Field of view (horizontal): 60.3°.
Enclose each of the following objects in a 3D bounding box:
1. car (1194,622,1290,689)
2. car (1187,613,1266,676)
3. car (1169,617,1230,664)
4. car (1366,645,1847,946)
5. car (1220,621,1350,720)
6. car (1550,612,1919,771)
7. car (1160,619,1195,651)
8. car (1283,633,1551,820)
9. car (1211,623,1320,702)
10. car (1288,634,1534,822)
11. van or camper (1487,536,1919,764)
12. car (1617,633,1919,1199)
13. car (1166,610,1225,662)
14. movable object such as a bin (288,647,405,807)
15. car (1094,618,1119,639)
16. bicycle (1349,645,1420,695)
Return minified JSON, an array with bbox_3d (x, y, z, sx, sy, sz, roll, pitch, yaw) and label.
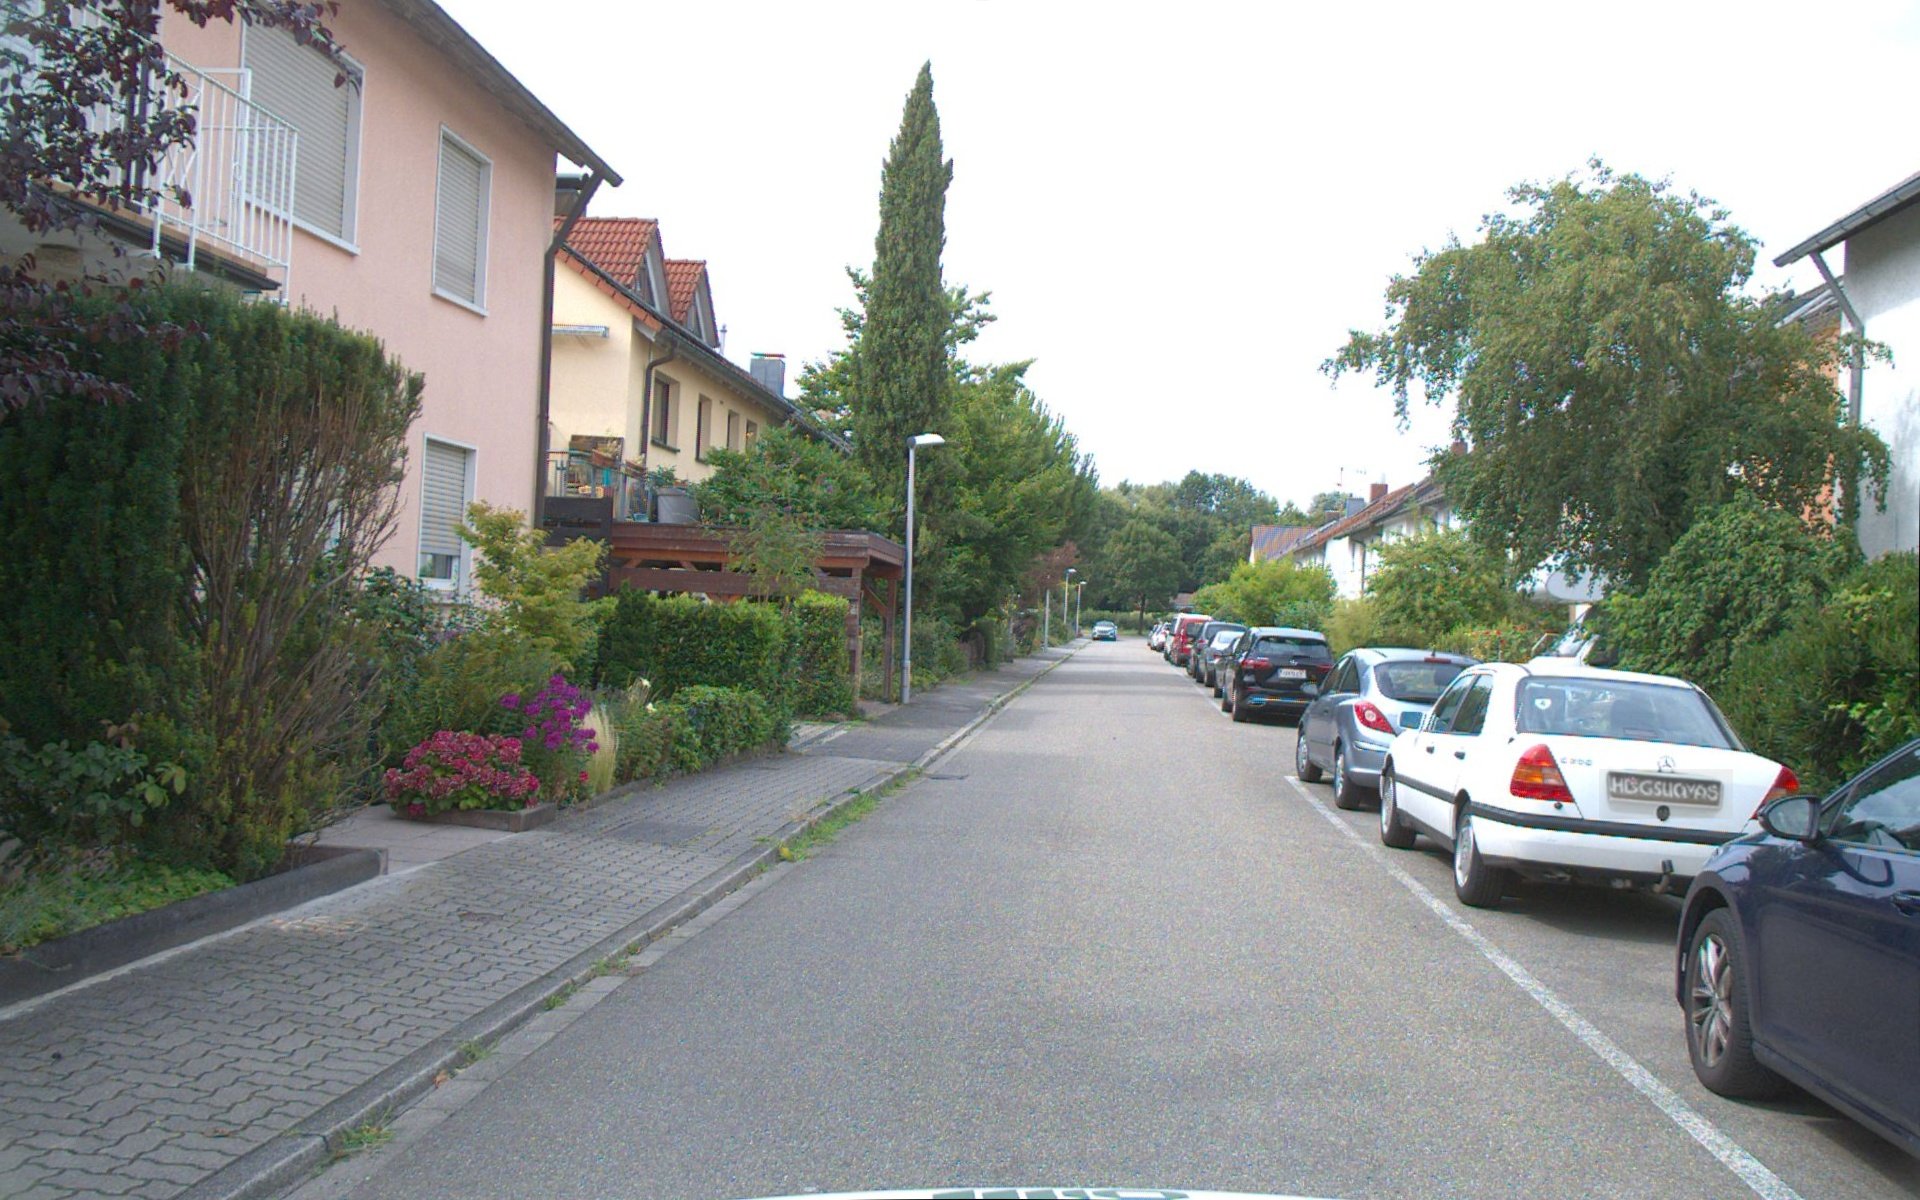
[{"bbox_3d":[7.137,1.368,42.226,1.829,1.431,4.769,4,0,4],"label":"car"},{"bbox_3d":[7.788,1.270,48.640,1.828,1.682,4.466,2,0,4],"label":"car"},{"bbox_3d":[9.044,1.500,62.762,1.773,1.680,4.412,2,0,2],"label":"car"},{"bbox_3d":[3.926,1.073,10.932,1.657,1.388,4.701,2,0,5],"label":"car"},{"bbox_3d":[5.566,1.163,28.785,1.712,1.493,4.650,2,0,5],"label":"car"},{"bbox_3d":[10.072,1.130,21.126,4.435,1.737,1.901,3,-1,8],"label":"car"},{"bbox_3d":[11.462,1.841,87.153,1.677,1.571,3.976,2,-1,6],"label":"car"},{"bbox_3d":[4.387,1.141,16.510,1.668,1.467,4.222,4,0,4],"label":"car"},{"bbox_3d":[6.284,1.242,34.402,1.696,1.453,4.127,2,0,4],"label":"car"},{"bbox_3d":[4.338,1.151,16.491,1.705,1.496,4.220,2,0,7],"label":"car"},{"bbox_3d":[10.672,0.676,23.309,5.677,2.867,2.538,2,-1,4],"label":"van or camper"},{"bbox_3d":[3.359,0.878,4.264,1.828,1.465,4.854,2,0,6],"label":"car"},{"bbox_3d":[9.613,1.448,67.734,1.978,1.981,4.749,2,0,4],"label":"car"},{"bbox_3d":[-3.848,0.787,10.396,0.478,0.947,0.506,2,-1,5],"label":"movable object such as a bin"},{"bbox_3d":[11.756,2.251,132.347,1.893,1.583,4.637,2,0,6],"label":"car"},{"bbox_3d":[9.579,1.582,37.321,1.505,1.041,0.376,2,0,11],"label":"bicycle"}]
